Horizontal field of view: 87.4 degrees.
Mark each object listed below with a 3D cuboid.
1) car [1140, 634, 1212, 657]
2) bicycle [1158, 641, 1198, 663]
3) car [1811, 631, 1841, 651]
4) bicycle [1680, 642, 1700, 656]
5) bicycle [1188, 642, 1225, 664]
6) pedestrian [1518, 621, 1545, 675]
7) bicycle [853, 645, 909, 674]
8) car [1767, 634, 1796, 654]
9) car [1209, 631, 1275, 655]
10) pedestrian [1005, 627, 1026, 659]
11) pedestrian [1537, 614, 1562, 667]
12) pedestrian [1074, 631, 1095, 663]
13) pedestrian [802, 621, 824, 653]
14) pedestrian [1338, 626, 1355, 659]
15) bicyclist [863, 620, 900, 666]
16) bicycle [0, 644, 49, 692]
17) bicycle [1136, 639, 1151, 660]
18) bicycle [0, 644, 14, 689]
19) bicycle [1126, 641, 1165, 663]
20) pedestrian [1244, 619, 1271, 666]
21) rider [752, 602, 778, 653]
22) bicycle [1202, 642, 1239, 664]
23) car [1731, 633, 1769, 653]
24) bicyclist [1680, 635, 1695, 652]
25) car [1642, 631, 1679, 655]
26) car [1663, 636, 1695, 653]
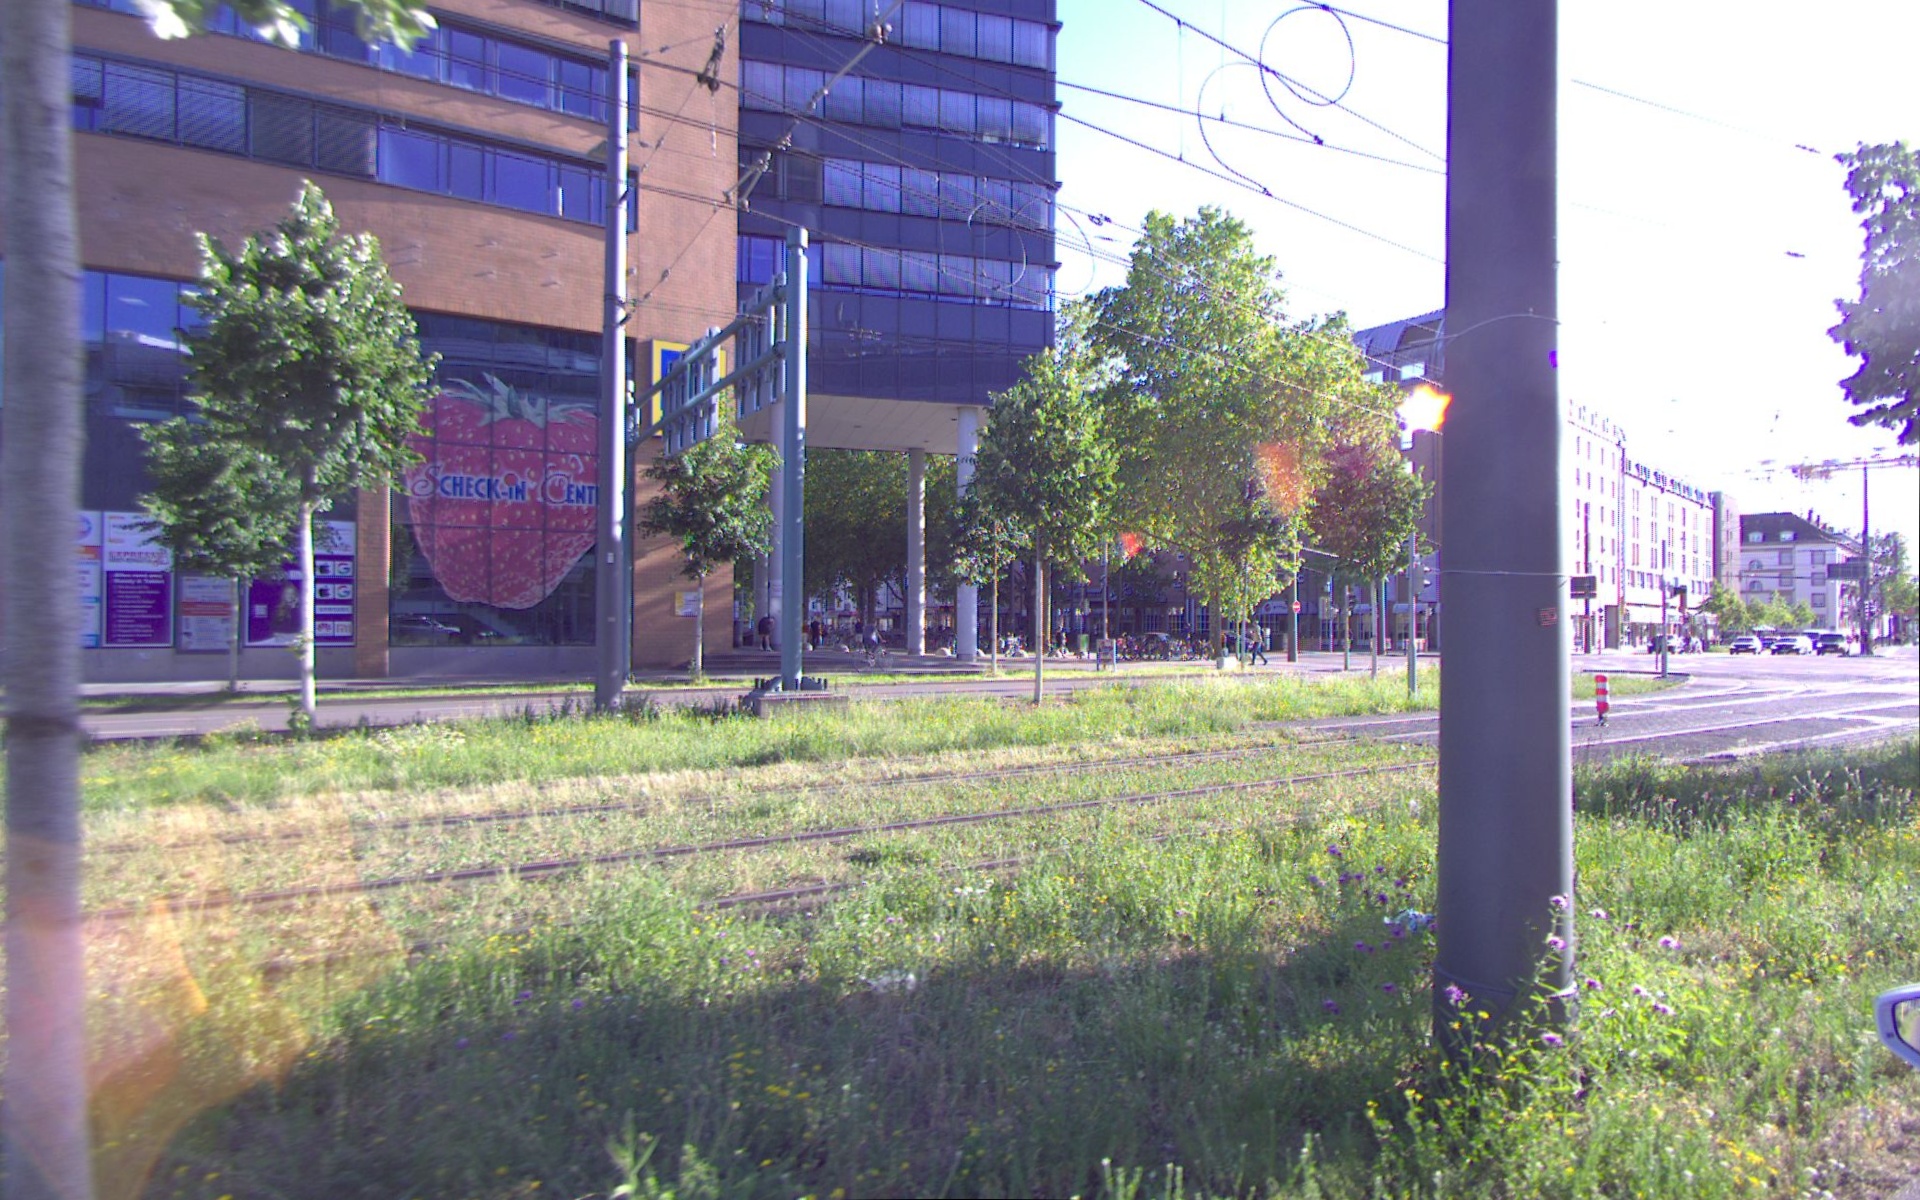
[{"bbox_3d":[12.730,2.659,59.465,1.978,1.283,3.965,1,-2,-32],"label":"car"},{"bbox_3d":[10.184,2.406,46.927,1.741,0.964,0.540,0,-1,32],"label":"bicycle"},{"bbox_3d":[67.961,3.167,78.835,1.725,1.524,3.861,-1,-2,41],"label":"car"},{"bbox_3d":[59.174,3.945,81.400,2.903,1.099,0.644,2,-2,-40],"label":"bicycle"},{"bbox_3d":[11.657,2.495,47.501,0.536,0.964,1.752,1,-2,-38],"label":"bicycle"},{"bbox_3d":[19.890,1.667,34.948,0.657,1.854,0.626,1,-1,-38],"label":"pedestrian"},{"bbox_3d":[-2.646,1.981,33.648,1.869,0.922,0.495,1,-1,-35],"label":"bicycle"},{"bbox_3d":[66.954,3.575,81.873,1.725,1.524,3.861,-1,-2,41],"label":"car"},{"bbox_3d":[18.354,2.769,65.513,1.744,1.439,3.957,1,-2,-37],"label":"car"},{"bbox_3d":[2.909,2.224,52.448,0.827,1.667,0.730,1,-1,-27],"label":"pedestrian"},{"bbox_3d":[20.886,1.427,35.562,0.657,1.841,0.558,1,-1,-38],"label":"pedestrian"},{"bbox_3d":[6.495,2.425,52.349,0.827,1.619,0.730,1,0,-27],"label":"pedestrian"},{"bbox_3d":[-8.099,2.015,55.209,1.092,1.730,0.789,1,0,-15],"label":"pedestrian"},{"bbox_3d":[23.888,2.614,62.081,0.670,2.040,0.662,1,-1,-31],"label":"pedestrian"},{"bbox_3d":[-2.617,1.441,33.612,1.006,1.484,0.673,1,0,-35],"label":"bicyclist"},{"bbox_3d":[-22.608,1.616,24.163,0.484,1.063,1.761,1,-1,-24],"label":"bicycle"},{"bbox_3d":[8.880,2.374,48.669,0.530,0.964,1.772,0,-1,5],"label":"bicycle"},{"bbox_3d":[-23.182,1.601,23.852,0.484,1.063,1.761,1,-1,-24],"label":"bicycle"},{"bbox_3d":[8.590,2.415,46.508,1.747,0.964,0.538,-1,-2,44],"label":"bicycle"},{"bbox_3d":[13.171,1.889,44.452,0.827,2.040,0.730,1,0,-27],"label":"pedestrian"},{"bbox_3d":[-7.109,1.014,36.571,0.704,1.826,0.714,1,-1,-31],"label":"rider"},{"bbox_3d":[12.399,2.514,47.876,0.536,0.964,1.752,1,-2,-38],"label":"bicycle"},{"bbox_3d":[66.096,3.565,84.002,1.973,1.617,4.708,-1,-2,45],"label":"car"},{"bbox_3d":[58.784,3.515,81.142,0.943,1.393,0.751,1,-1,-39],"label":"bicyclist"},{"bbox_3d":[60.724,3.730,87.063,1.973,2.040,3.975,-1,-2,45],"label":"car"},{"bbox_3d":[66.098,4.072,92.328,1.866,1.530,3.975,-1,-2,45],"label":"car"}]
